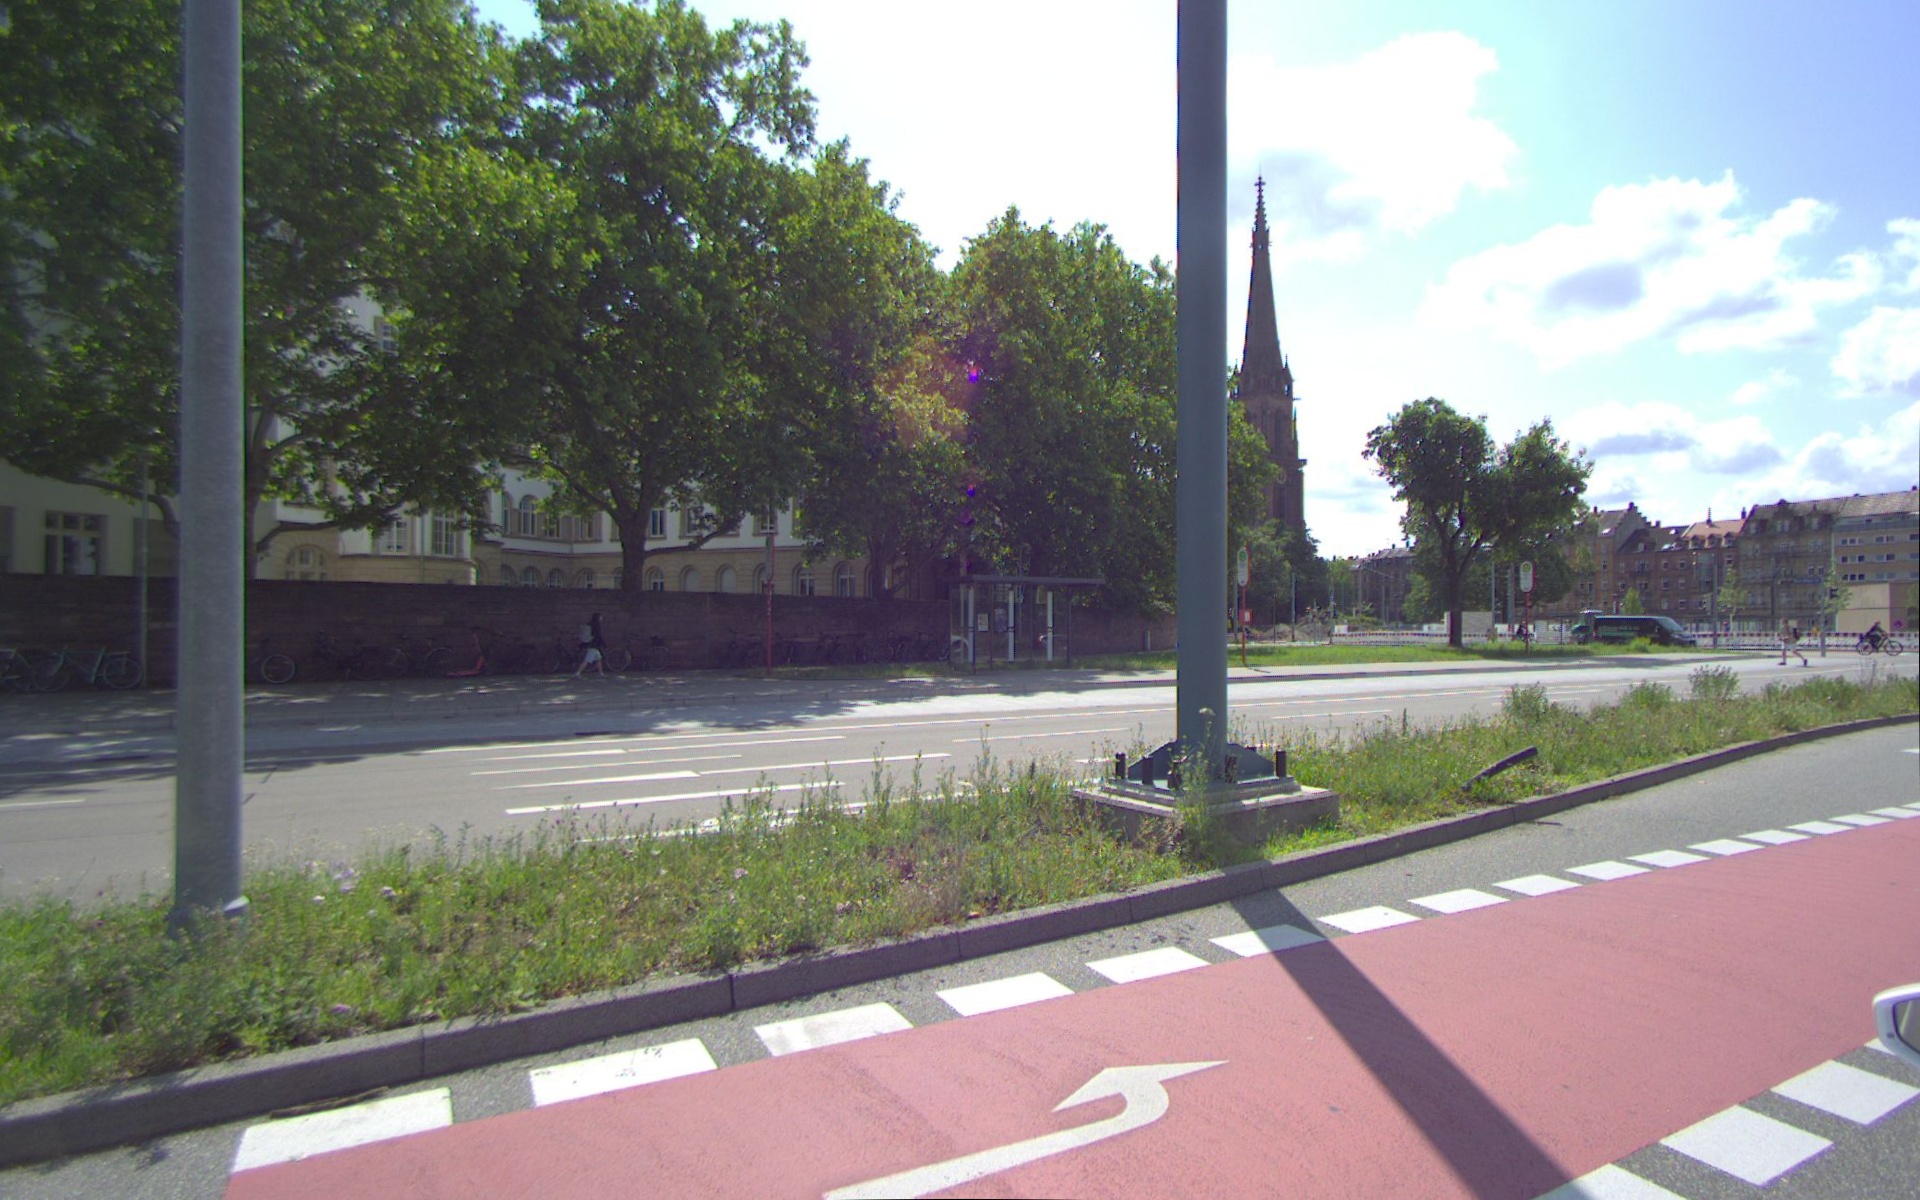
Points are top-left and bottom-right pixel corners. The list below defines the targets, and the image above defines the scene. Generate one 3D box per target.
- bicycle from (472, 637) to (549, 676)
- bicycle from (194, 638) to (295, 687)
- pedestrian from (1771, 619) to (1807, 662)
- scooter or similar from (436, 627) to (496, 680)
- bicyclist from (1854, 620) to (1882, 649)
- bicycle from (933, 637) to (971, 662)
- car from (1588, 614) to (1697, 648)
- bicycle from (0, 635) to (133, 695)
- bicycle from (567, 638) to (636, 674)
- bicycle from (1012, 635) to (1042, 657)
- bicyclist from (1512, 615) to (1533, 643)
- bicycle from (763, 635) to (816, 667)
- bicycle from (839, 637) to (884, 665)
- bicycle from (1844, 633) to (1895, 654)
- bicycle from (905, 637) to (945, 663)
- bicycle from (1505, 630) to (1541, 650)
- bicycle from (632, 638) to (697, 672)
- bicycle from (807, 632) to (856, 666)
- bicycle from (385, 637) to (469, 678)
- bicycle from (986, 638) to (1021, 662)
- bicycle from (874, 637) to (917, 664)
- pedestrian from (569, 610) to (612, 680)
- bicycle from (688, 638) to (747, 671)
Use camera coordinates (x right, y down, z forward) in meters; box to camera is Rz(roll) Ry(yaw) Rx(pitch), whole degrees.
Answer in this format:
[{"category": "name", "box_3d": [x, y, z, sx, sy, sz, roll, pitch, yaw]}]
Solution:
[{"category": "bicycle", "box_3d": [-11.134, 1.393, 24.899, 1.653, 0.914, 0.538, 1, -1, -42]}, {"category": "bicycle", "box_3d": [-14.836, 1.279, 20.840, 1.653, 0.962, 0.538, 1, -1, -42]}, {"category": "pedestrian", "box_3d": [30.560, 1.494, 37.036, 0.858, 1.580, 0.556, 0, -1, 15]}, {"category": "scooter or similar", "box_3d": [-11.561, 1.234, 23.532, 0.426, 1.199, 1.188, -1, -1, 39]}, {"category": "bicyclist", "box_3d": [47.551, 1.791, 52.604, 0.546, 1.493, 0.961, 1, -1, -36]}, {"category": "bicycle", "box_3d": [-0.294, 1.900, 38.479, 0.446, 0.914, 1.786, 0, -1, 39]}, {"category": "car", "box_3d": [40.085, 1.804, 59.148, 1.908, 1.904, 4.980, 0, -1, -32]}, {"category": "bicycle", "box_3d": [-16.898, 1.214, 19.012, 1.882, 1.061, 0.538, 1, -1, -43]}, {"category": "bicycle", "box_3d": [-9.533, 1.481, 26.737, 0.538, 0.914, 1.655, -1, -1, 45]}, {"category": "bicycle", "box_3d": [2.871, 1.964, 43.138, 0.536, 0.914, 1.660, 0, -1, 34]}, {"category": "bicyclist", "box_3d": [37.861, 1.939, 67.632, 0.588, 1.869, 1.111, 0, -1, -36]}, {"category": "bicycle", "box_3d": [-5.334, 1.586, 31.556, 0.538, 0.964, 1.656, -1, -1, 43]}, {"category": "bicycle", "box_3d": [-3.343, 1.721, 34.277, 0.537, 0.914, 1.658, 0, -1, 39]}, {"category": "bicycle", "box_3d": [47.565, 2.289, 52.539, 0.542, 1.044, 1.907, 1, -1, -36]}, {"category": "bicycle", "box_3d": [-1.273, 1.842, 36.988, 0.537, 0.914, 1.658, 0, -1, 39]}, {"category": "bicycle", "box_3d": [37.865, 2.675, 67.592, 0.598, 1.307, 2.050, 1, -1, -36]}, {"category": "bicycle", "box_3d": [-8.200, 1.516, 27.887, 1.648, 0.914, 0.499, 1, -1, -34]}, {"category": "bicycle", "box_3d": [-4.185, 1.586, 32.790, 0.538, 1.065, 1.615, 0, -1, 43]}, {"category": "bicycle", "box_3d": [-12.483, 1.340, 23.558, 1.653, 0.914, 0.538, 2, -2, -42]}, {"category": "bicycle", "box_3d": [1.800, 2.047, 41.348, 0.537, 0.914, 1.658, 0, -1, 39]}, {"category": "bicycle", "box_3d": [-2.290, 1.783, 35.636, 0.537, 0.914, 1.658, 0, -1, 39]}, {"category": "pedestrian", "box_3d": [-8.855, 1.071, 24.091, 0.607, 1.638, 0.754, 1, 0, 39]}, {"category": "bicycle", "box_3d": [-7.100, 1.579, 29.450, 0.538, 0.914, 1.655, -1, -1, 44]}]
